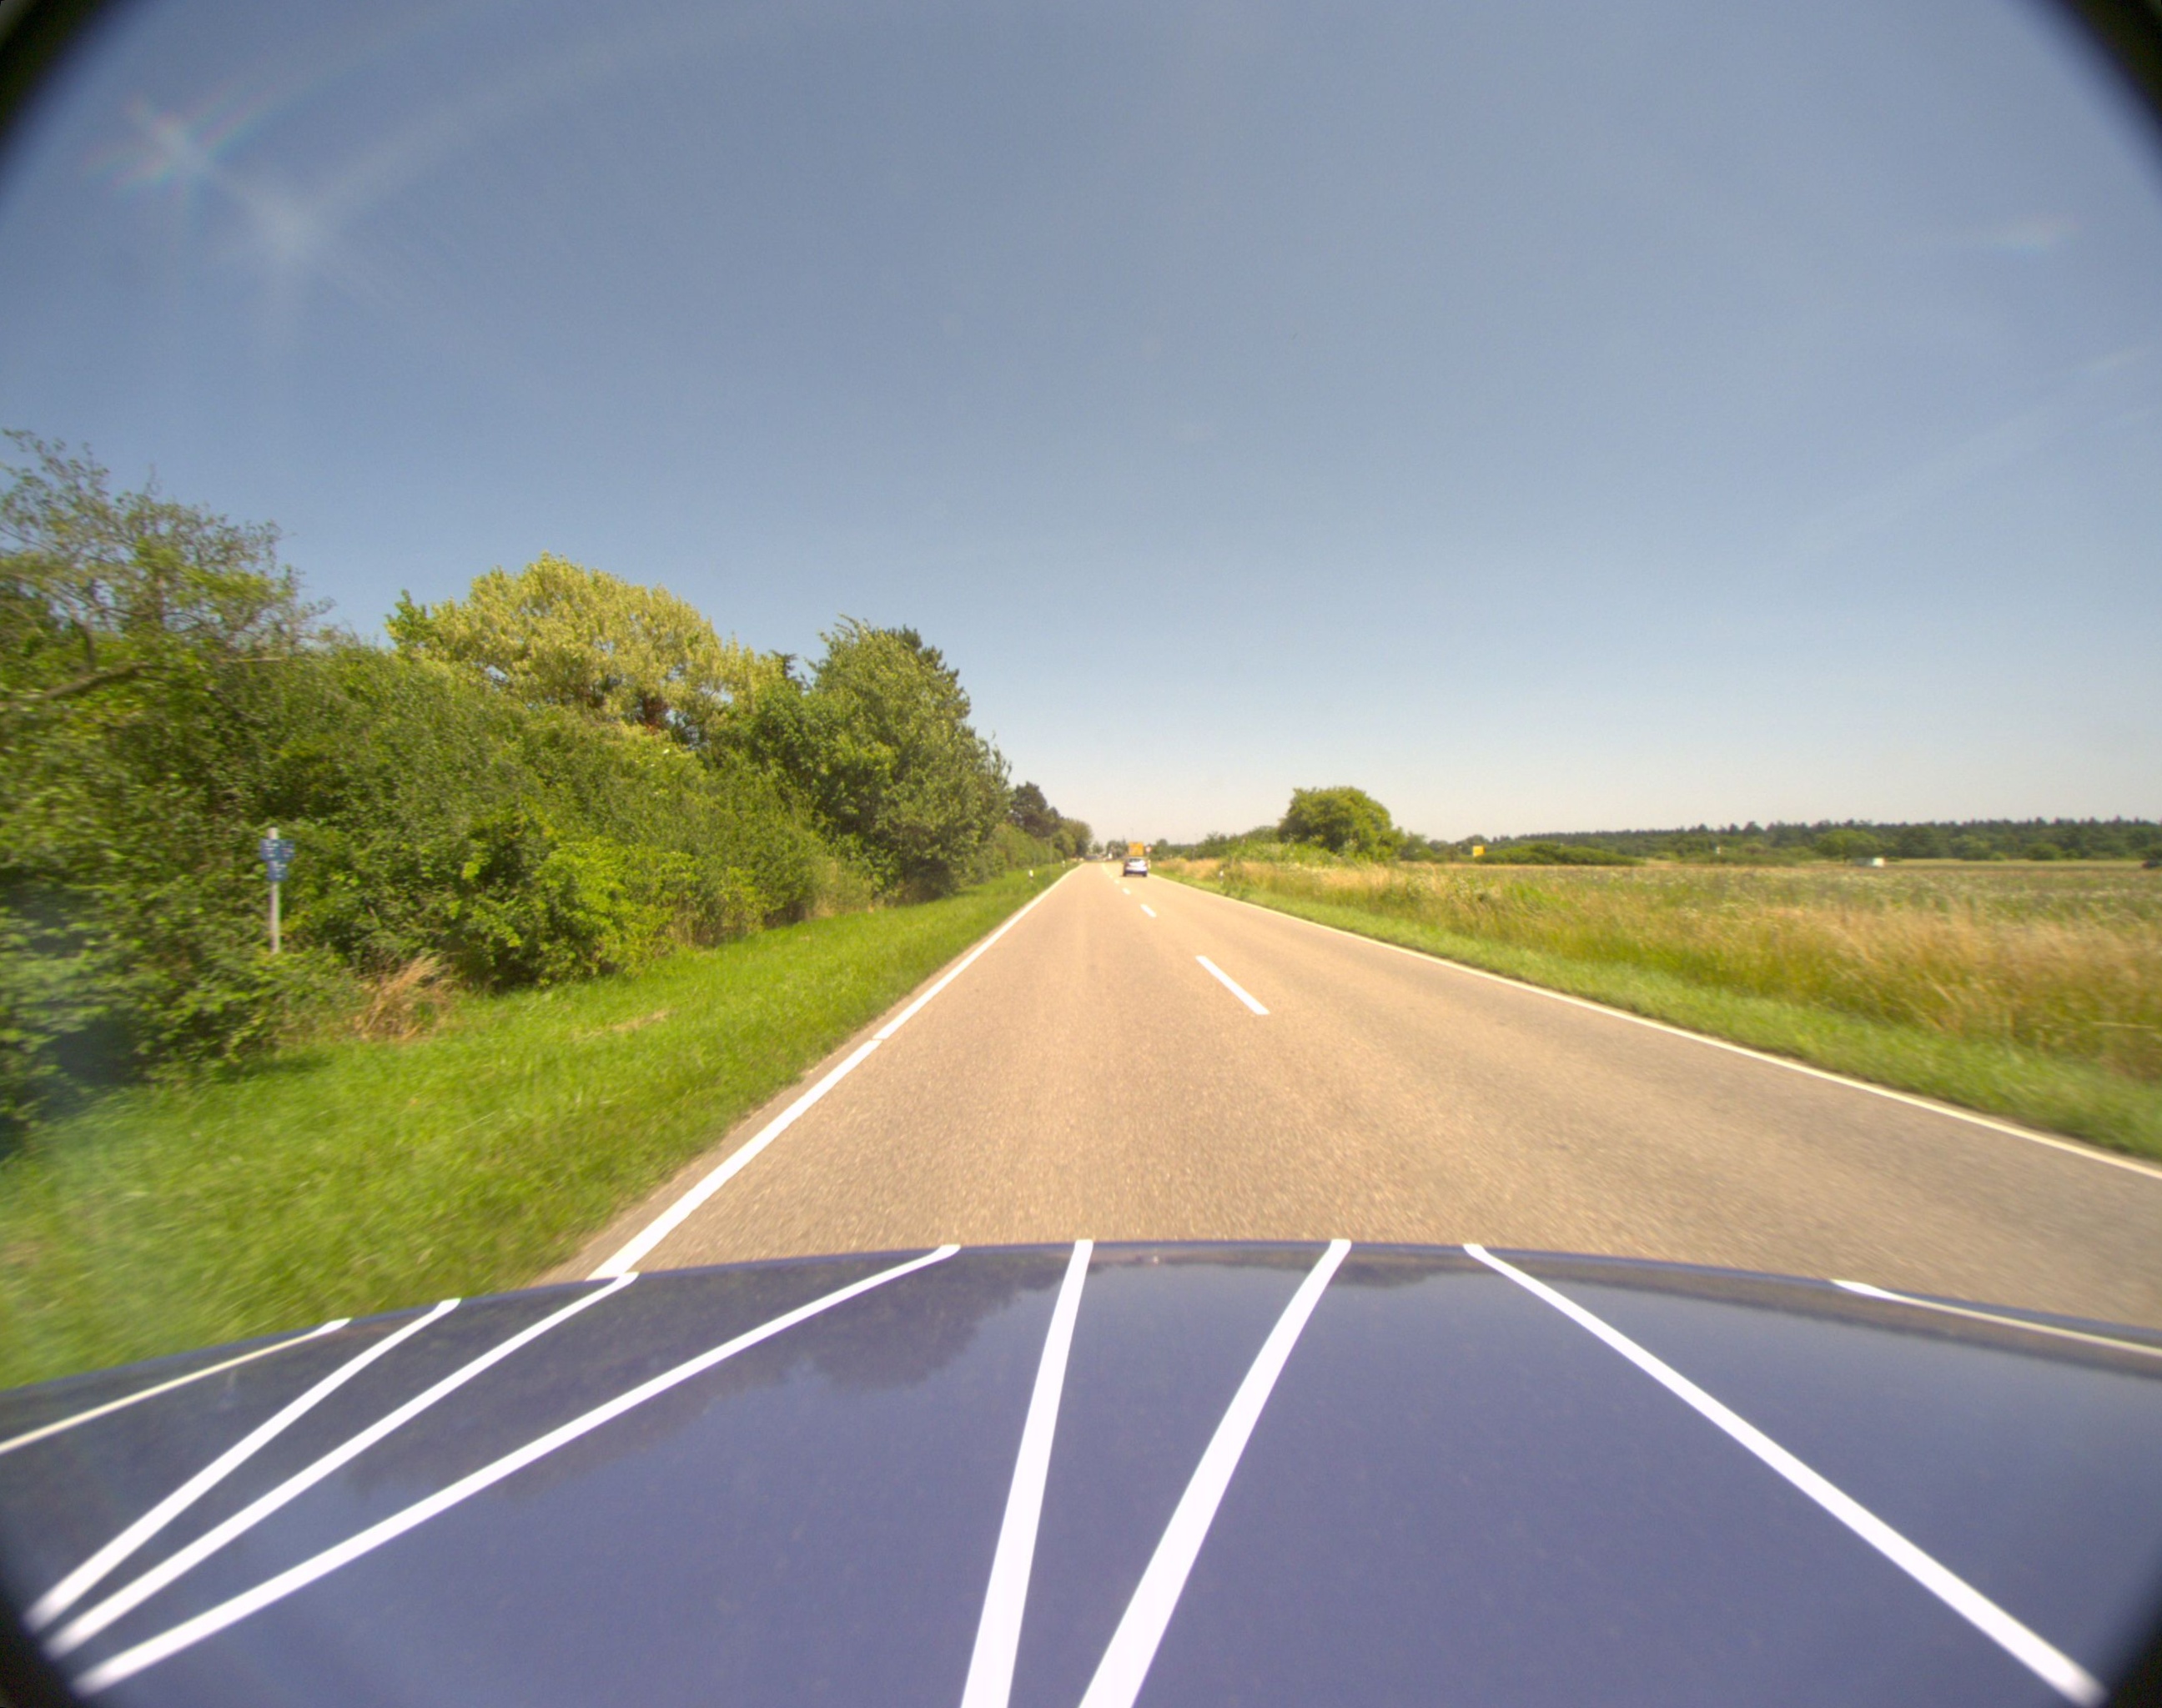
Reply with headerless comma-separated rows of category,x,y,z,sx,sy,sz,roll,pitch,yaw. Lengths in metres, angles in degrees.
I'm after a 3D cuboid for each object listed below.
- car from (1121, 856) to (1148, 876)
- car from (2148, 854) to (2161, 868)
car,4.054,0.862,57.687,1.682,1.413,4.421,2,0,0
car,139.731,0.893,96.380,2.003,1.681,4.841,0,0,-29
